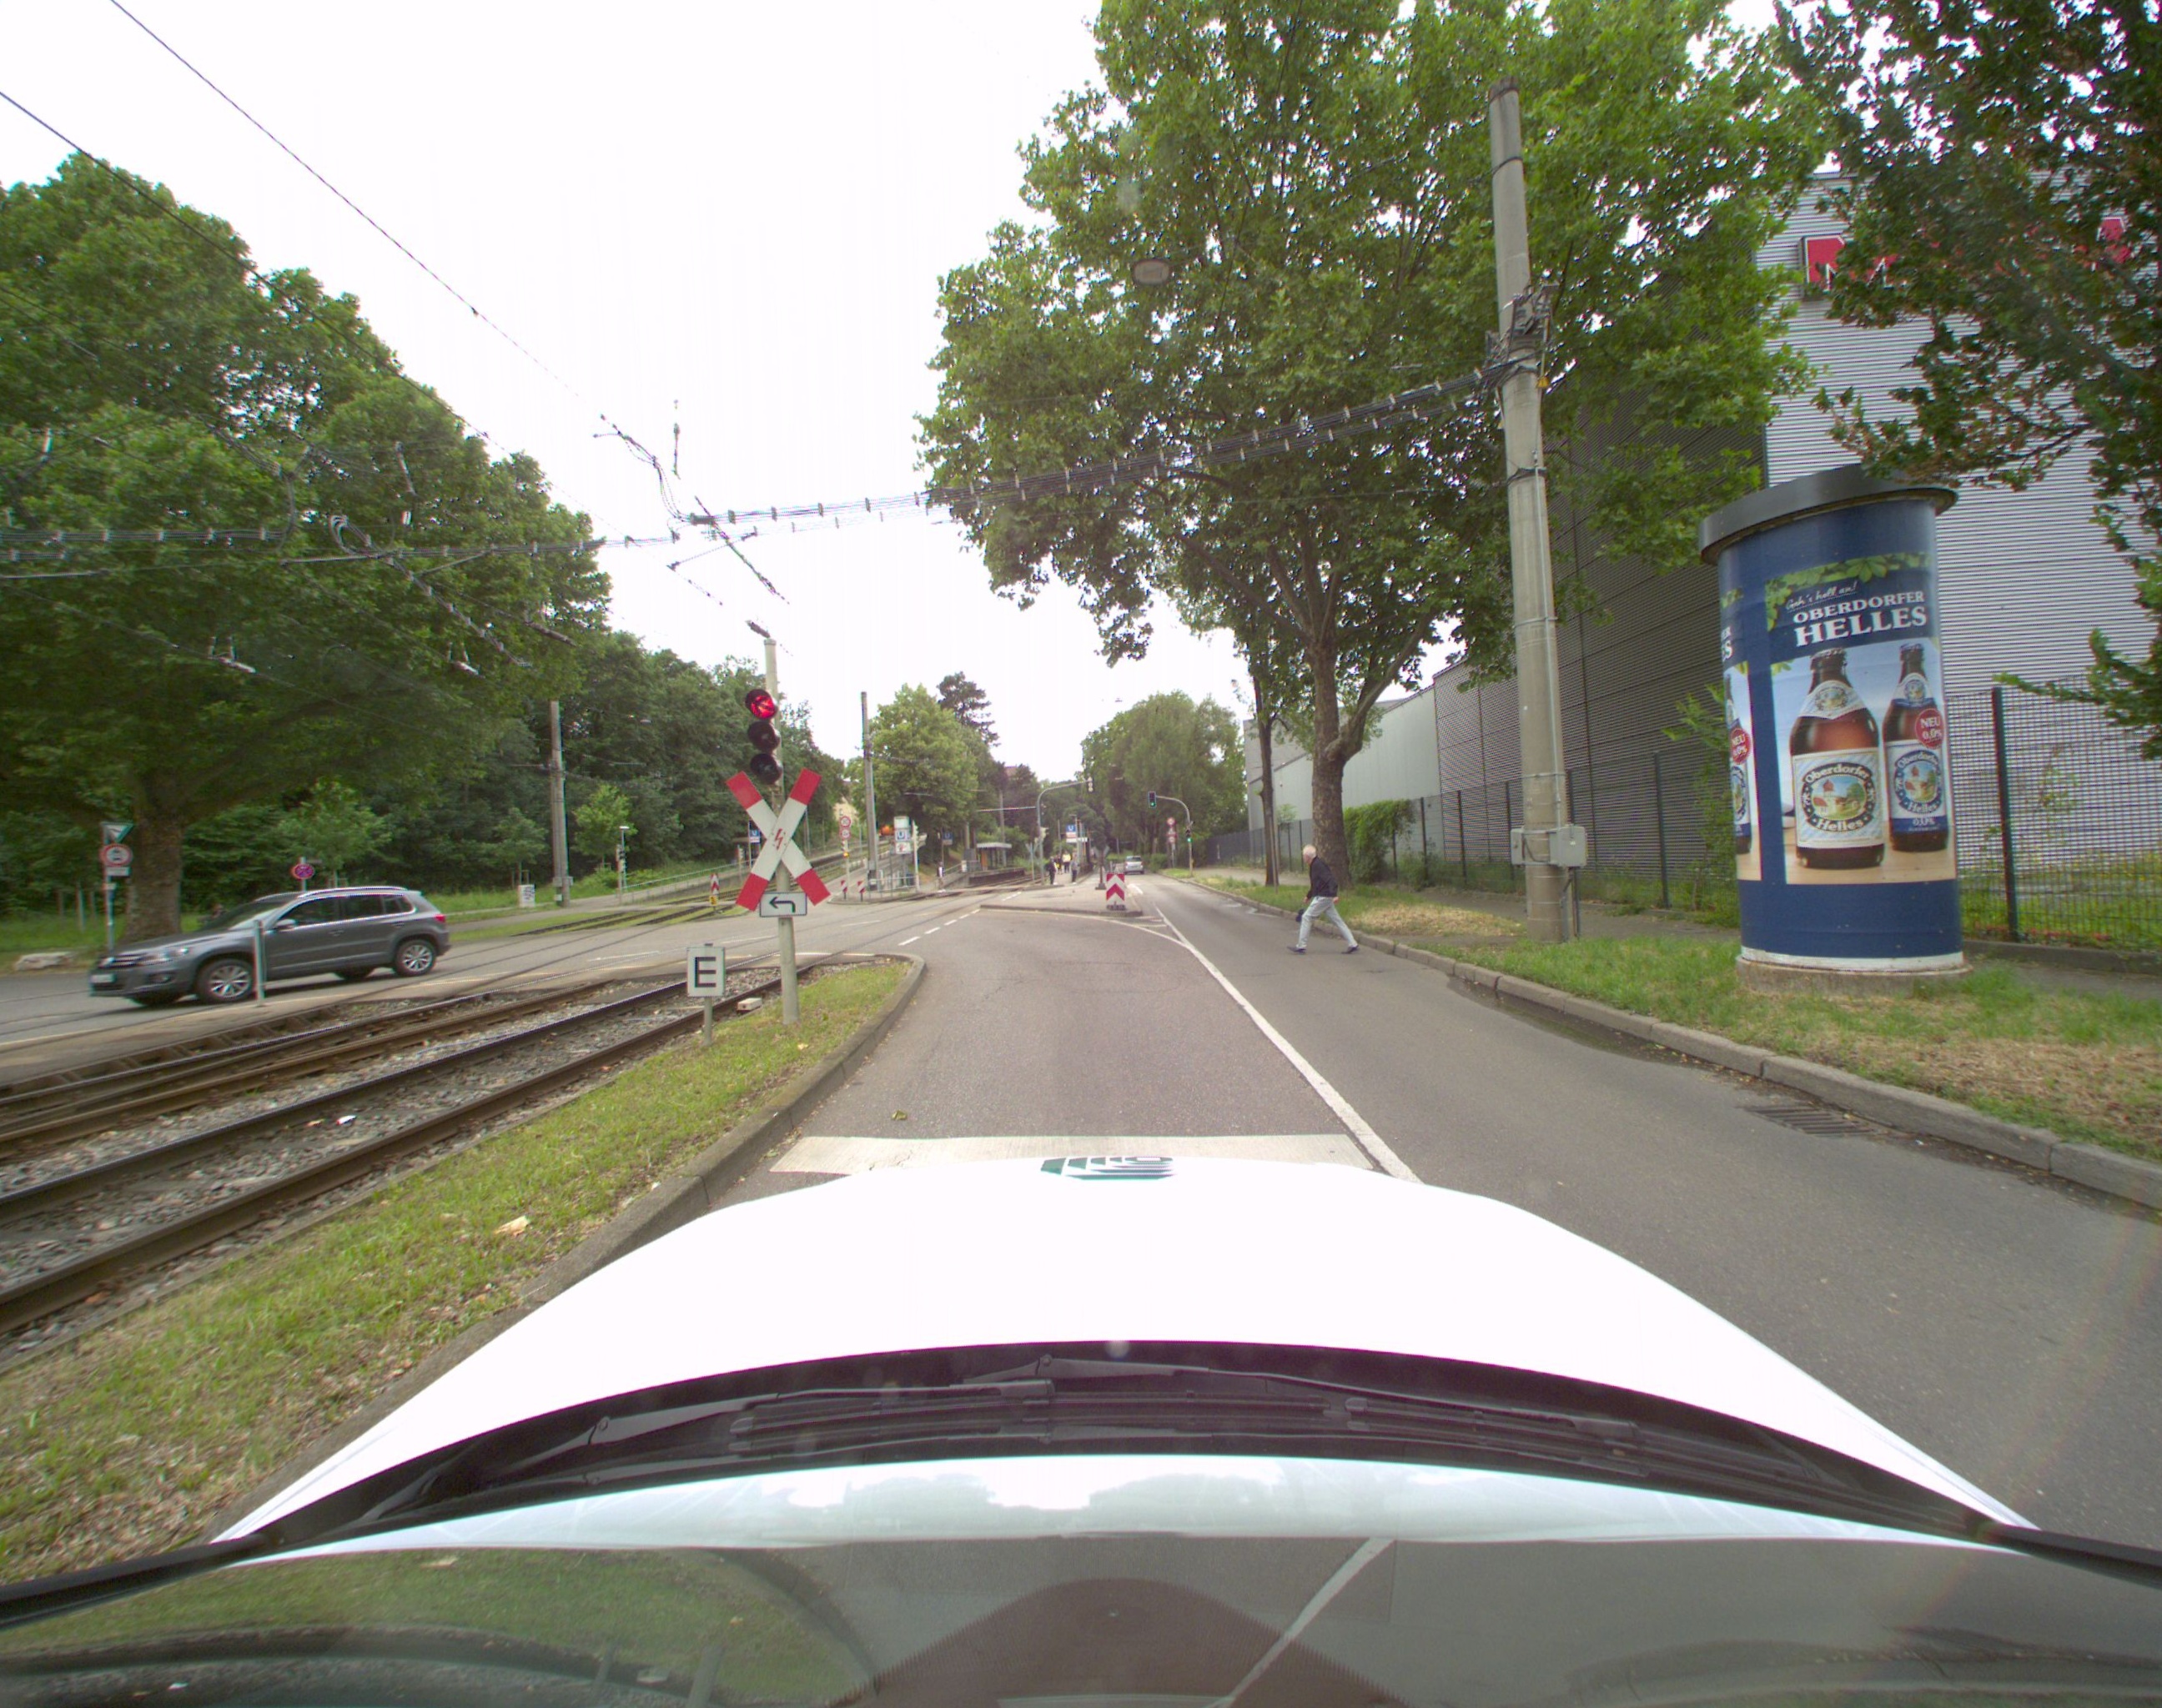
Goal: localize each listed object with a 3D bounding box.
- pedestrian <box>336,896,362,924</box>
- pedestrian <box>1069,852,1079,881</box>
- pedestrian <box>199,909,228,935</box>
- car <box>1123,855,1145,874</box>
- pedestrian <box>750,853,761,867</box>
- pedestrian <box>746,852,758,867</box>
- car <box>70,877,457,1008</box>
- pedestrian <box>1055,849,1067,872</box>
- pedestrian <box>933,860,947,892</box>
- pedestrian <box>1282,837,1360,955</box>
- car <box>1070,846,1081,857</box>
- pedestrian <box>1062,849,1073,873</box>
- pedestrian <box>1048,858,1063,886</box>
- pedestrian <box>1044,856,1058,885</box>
[{"bbox_3d":[-33.457,2.531,37.206,0.574,1.235,0.676,-1,-1,15],"label":"pedestrian"},{"bbox_3d":[-0.449,0.775,50.952,0.547,1.758,0.739,0,-1,6],"label":"pedestrian"},{"bbox_3d":[-35.376,2.762,33.225,0.526,0.989,0.623,-1,-1,17],"label":"pedestrian"},{"bbox_3d":[4.647,0.945,71.523,1.737,1.599,4.001,0,-1,2],"label":"car"},{"bbox_3d":[-30.705,0.543,76.887,0.771,1.326,0.785,0,-1,-6],"label":"pedestrian"},{"bbox_3d":[-30.628,0.534,75.796,0.771,1.326,0.785,0,2,-6],"label":"pedestrian"},{"bbox_3d":[-13.430,1.360,13.765,1.884,1.718,4.157,-5,-2,20],"label":"car"},{"bbox_3d":[-1.437,0.464,58.140,0.735,1.665,0.679,0,-1,-9],"label":"pedestrian"},{"bbox_3d":[-8.226,1.292,47.486,0.803,1.821,0.668,0,-1,-12],"label":"pedestrian"},{"bbox_3d":[3.745,0.635,12.710,1.108,1.760,0.817,-1,-1,17],"label":"pedestrian"},{"bbox_3d":[-1.099,-0.512,156.907,1.986,2.014,4.001,0,-1,2],"label":"car"},{"bbox_3d":[-1.002,0.509,59.135,0.735,1.665,0.679,0,-1,-9],"label":"pedestrian"},{"bbox_3d":[-1.549,1.104,49.777,0.674,1.665,0.741,-1,-1,17],"label":"pedestrian"},{"bbox_3d":[-1.741,0.951,47.131,0.732,1.665,0.682,0,-1,3],"label":"pedestrian"}]
